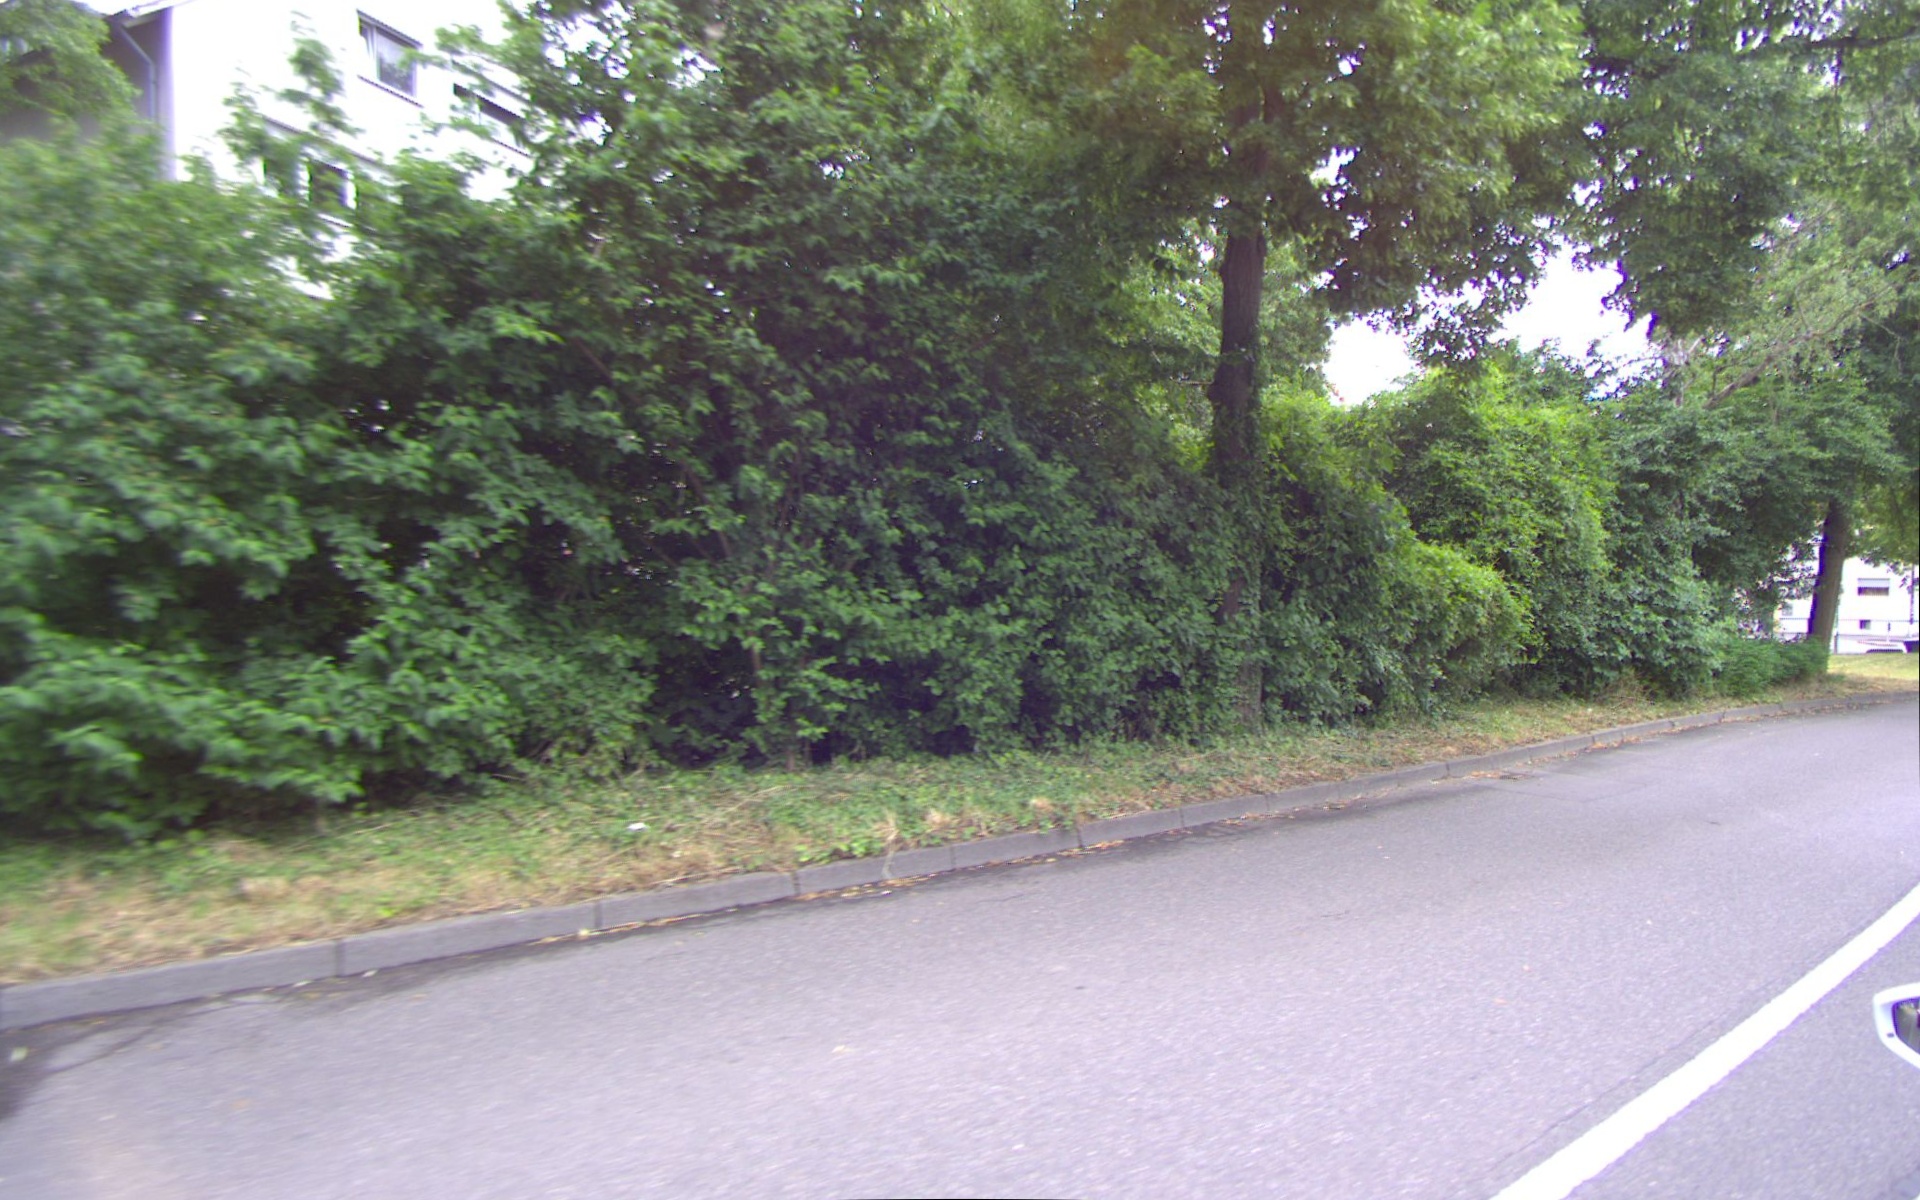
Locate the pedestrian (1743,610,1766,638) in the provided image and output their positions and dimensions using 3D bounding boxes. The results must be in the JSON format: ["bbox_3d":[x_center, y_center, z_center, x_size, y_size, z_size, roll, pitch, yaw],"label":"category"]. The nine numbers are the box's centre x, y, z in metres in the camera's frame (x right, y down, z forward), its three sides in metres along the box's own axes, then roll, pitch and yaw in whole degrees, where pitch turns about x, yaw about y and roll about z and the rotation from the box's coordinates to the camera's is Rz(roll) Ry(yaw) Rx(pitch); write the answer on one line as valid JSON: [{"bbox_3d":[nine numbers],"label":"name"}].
[{"bbox_3d":[45.563,1.361,57.608,0.735,1.555,0.716,3,4,21],"label":"pedestrian"}]

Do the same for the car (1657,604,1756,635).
[{"bbox_3d":[43.337,1.103,58.434,4.232,1.459,1.721,3,4,21],"label":"car"}]
